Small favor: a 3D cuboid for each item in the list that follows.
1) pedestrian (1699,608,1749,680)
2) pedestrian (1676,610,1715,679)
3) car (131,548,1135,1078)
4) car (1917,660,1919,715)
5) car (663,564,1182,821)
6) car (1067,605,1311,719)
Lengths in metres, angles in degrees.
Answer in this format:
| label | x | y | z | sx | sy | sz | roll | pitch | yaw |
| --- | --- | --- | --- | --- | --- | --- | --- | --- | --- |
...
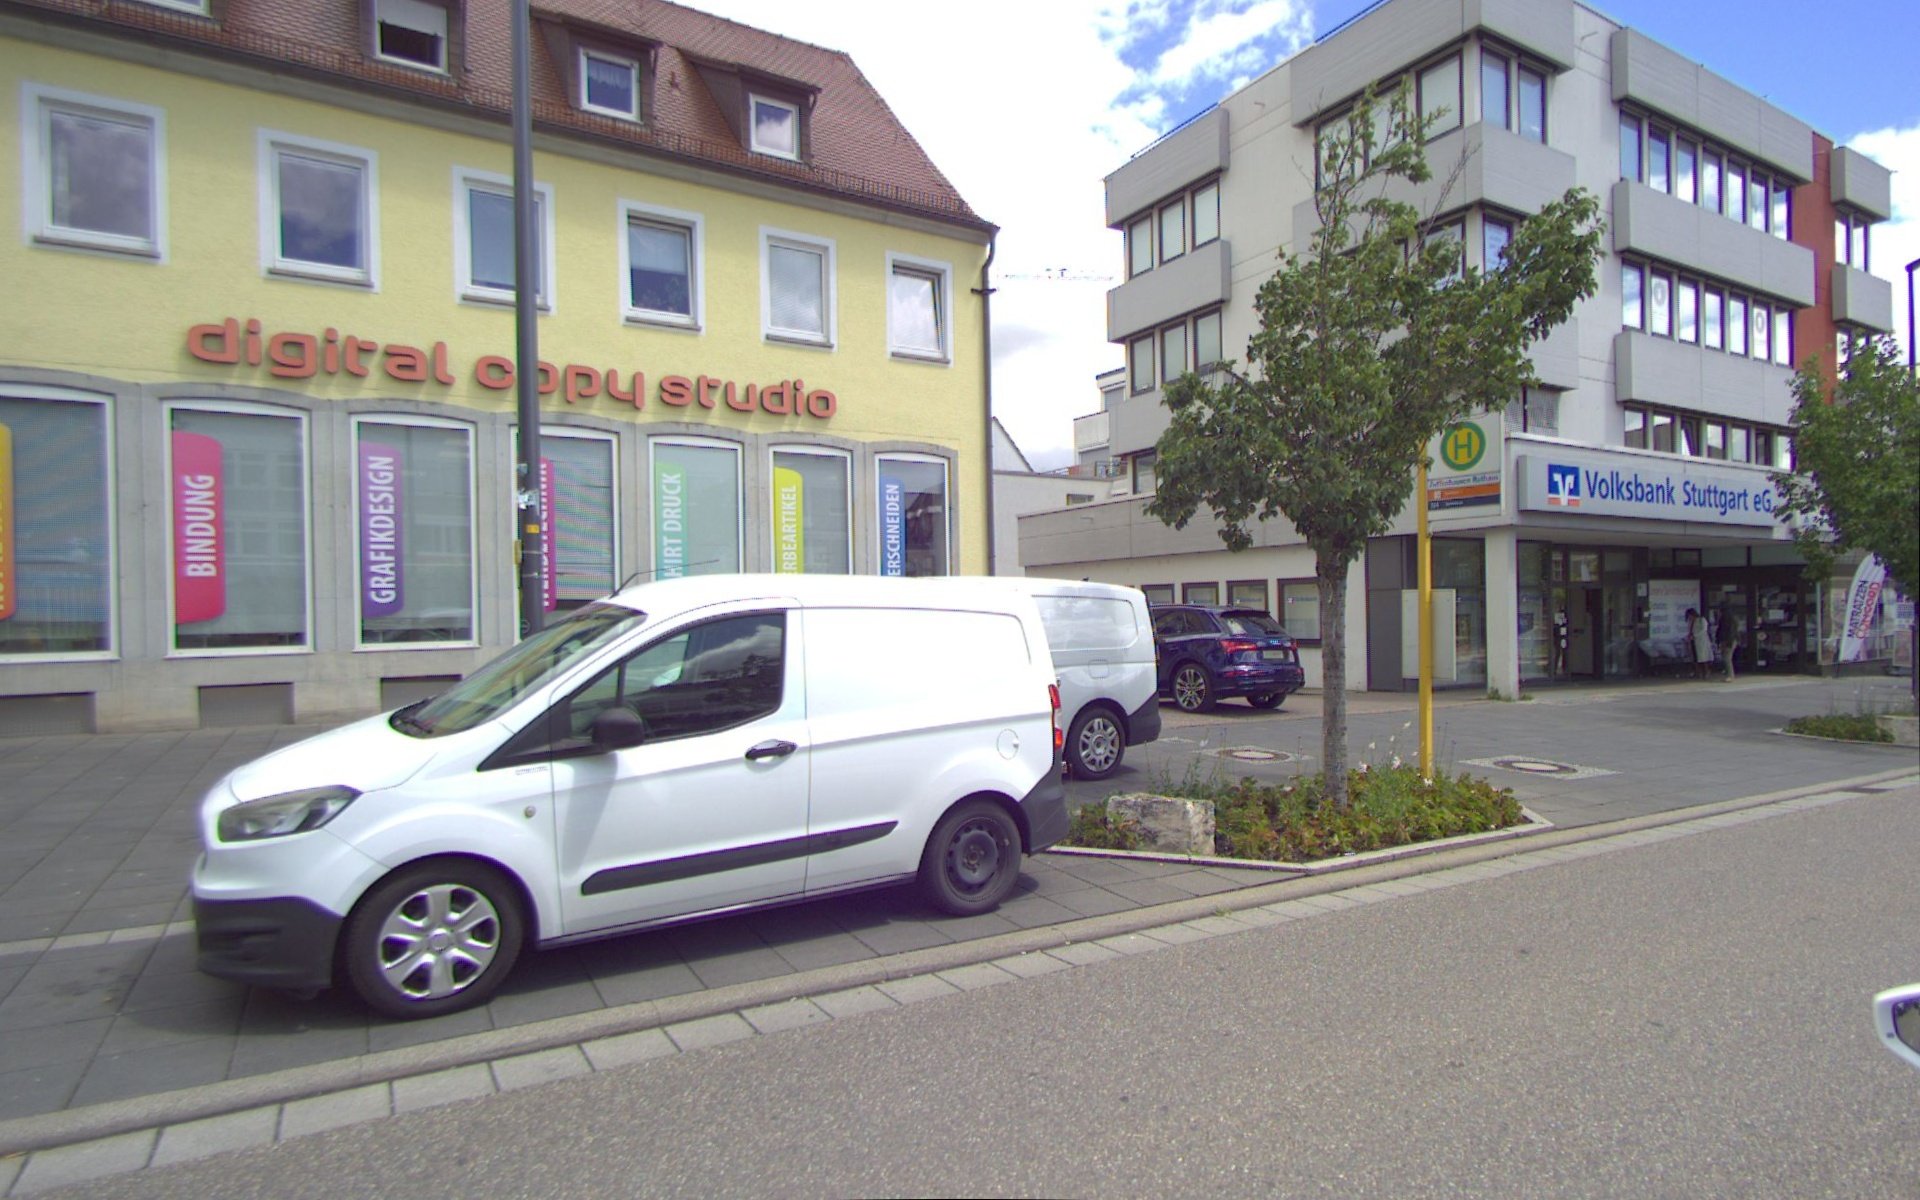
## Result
| label | x | y | z | sx | sy | sz | roll | pitch | yaw |
| --- | --- | --- | --- | --- | --- | --- | --- | --- | --- |
| pedestrian | 17.174 | 0.994 | 22.581 | 0.633 | 1.587 | 0.586 | 0 | -2 | -6 |
| pedestrian | 17.281 | 1.040 | 23.605 | 0.579 | 1.587 | 0.508 | 1 | -2 | -29 |
| car | -1.275 | 0.715 | 5.087 | 4.304 | 1.694 | 1.646 | 1 | 0 | -33 |
| car | 18.395 | 1.173 | 17.108 | 4.276 | 1.621 | 1.688 | 1 | 1 | -27 |
| car | -0.230 | 0.694 | 9.122 | 4.427 | 1.838 | 1.747 | 1 | 0 | -32 |
| car | 3.512 | 0.889 | 15.944 | 1.652 | 1.579 | 3.603 | 1 | -1 | -35 |
